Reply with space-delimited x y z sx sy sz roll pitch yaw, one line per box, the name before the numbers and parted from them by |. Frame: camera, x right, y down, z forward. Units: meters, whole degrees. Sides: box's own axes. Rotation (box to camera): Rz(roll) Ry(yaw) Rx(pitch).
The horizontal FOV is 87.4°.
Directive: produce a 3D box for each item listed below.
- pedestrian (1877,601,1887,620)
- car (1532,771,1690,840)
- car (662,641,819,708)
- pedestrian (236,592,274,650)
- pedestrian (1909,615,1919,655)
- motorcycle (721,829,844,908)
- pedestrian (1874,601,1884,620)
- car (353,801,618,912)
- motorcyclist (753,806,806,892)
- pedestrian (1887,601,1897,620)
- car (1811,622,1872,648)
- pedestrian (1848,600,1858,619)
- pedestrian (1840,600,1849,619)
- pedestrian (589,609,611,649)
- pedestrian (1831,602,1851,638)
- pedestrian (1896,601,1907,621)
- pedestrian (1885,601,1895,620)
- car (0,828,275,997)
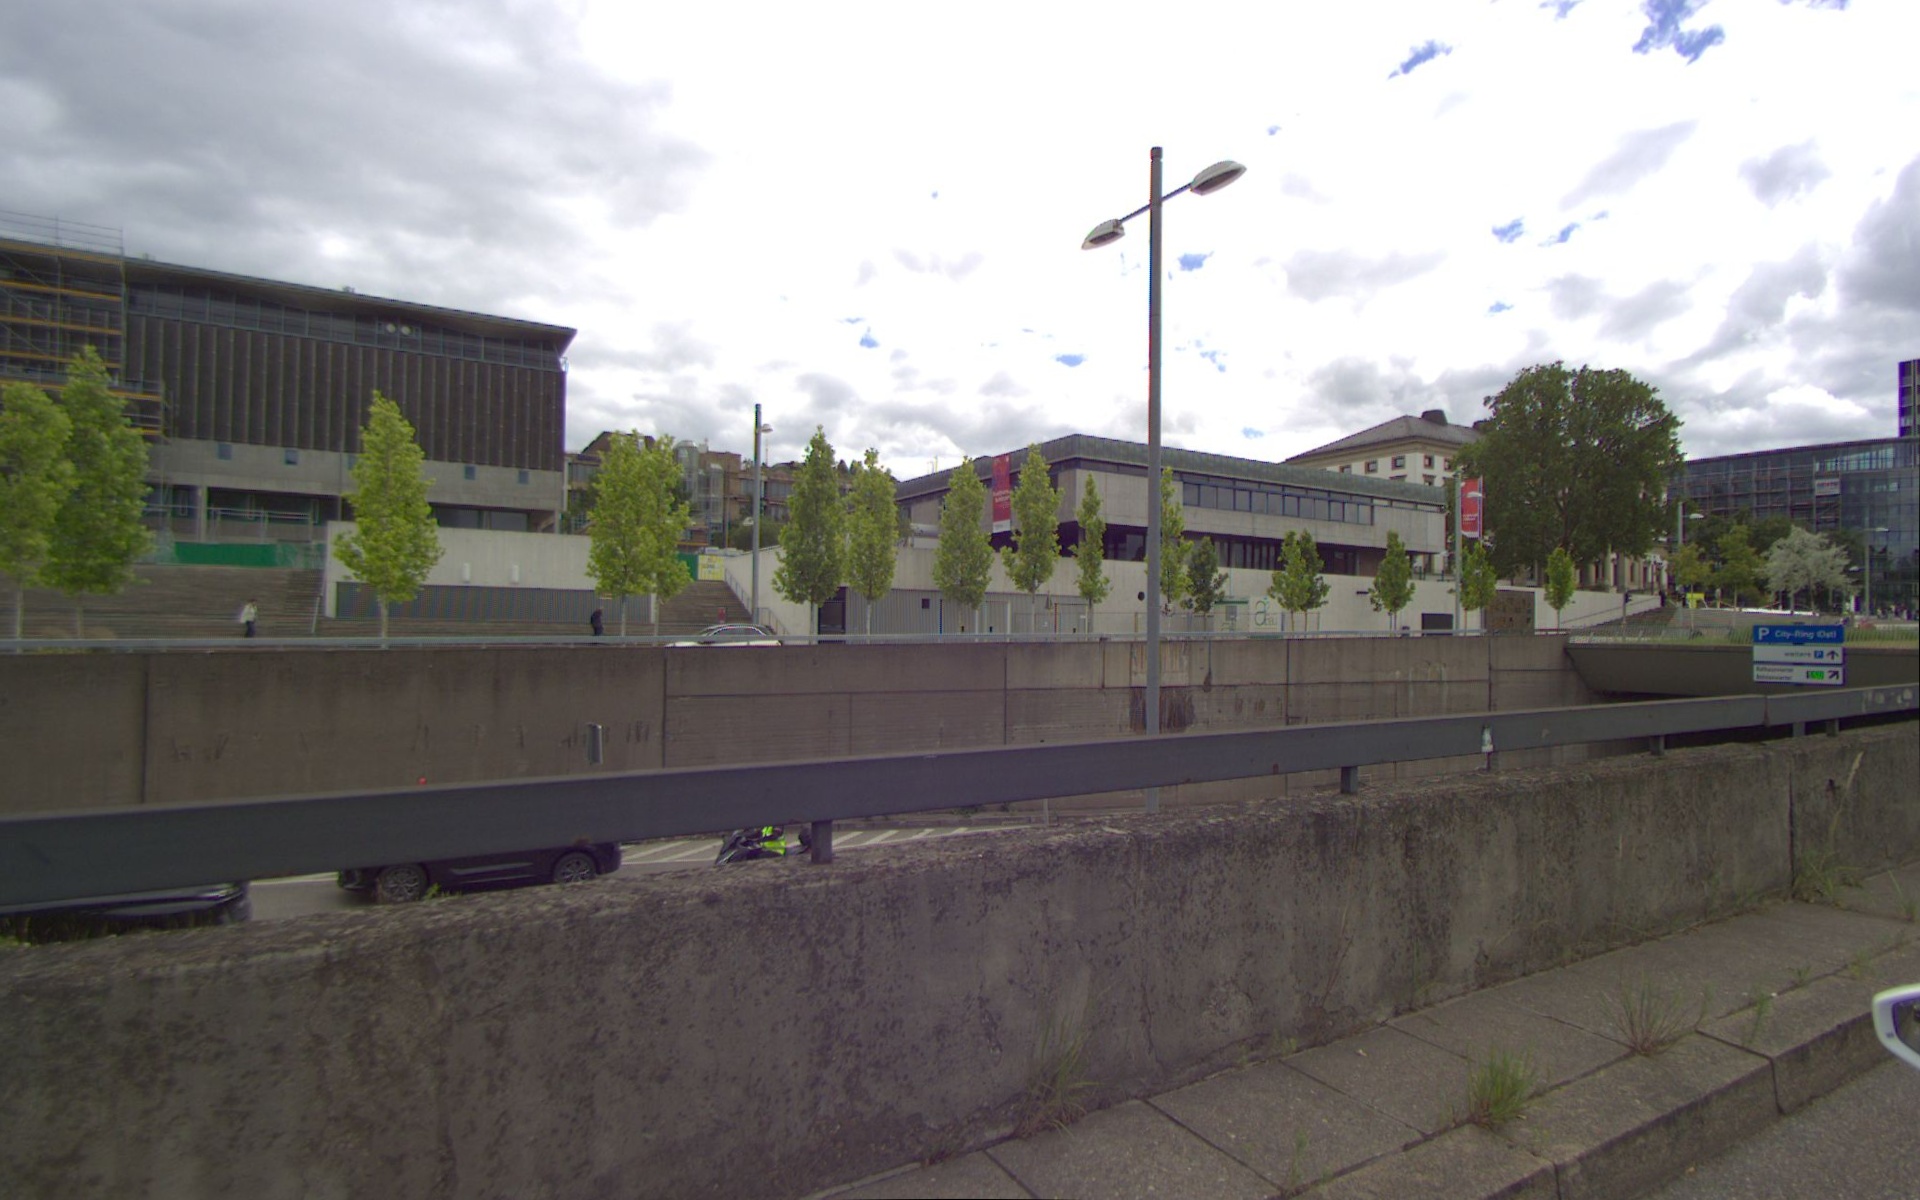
pedestrian | 99.679 1.136 108.563 0.730 2.040 0.789 -1 0 40
car | 20.180 6.274 31.085 5.191 1.659 1.985 3 -8 -32
car | -6.231 2.089 28.559 3.954 1.786 1.985 1 -4 -31
pedestrian | -25.583 0.759 36.458 0.777 2.040 0.741 -1 0 9
pedestrian | 49.869 1.815 52.101 0.779 2.040 0.834 -1 -1 33
motorcycle | -3.126 4.726 17.806 2.027 1.112 0.682 4 -6 -30
pedestrian | 98.762 1.114 107.919 0.730 2.040 1.109 -1 0 40
car | -8.251 4.381 17.564 3.962 1.345 1.796 5 -5 -31
motorcyclist | -3.198 4.390 17.794 0.710 1.369 0.666 4 -6 -31
pedestrian | 100.830 1.177 108.705 0.730 2.040 0.789 -1 0 40
car | 66.536 2.582 75.812 4.683 1.879 2.163 0 -1 -32
pedestrian | 96.569 1.025 108.599 0.730 2.040 0.789 -1 0 40
pedestrian | 96.591 1.024 109.670 0.730 2.040 0.789 -1 0 40
pedestrian | -15.295 1.225 42.694 0.779 1.664 0.738 -1 0 -15
pedestrian | 51.226 1.166 58.406 0.623 2.040 0.724 -6 3 -37
pedestrian | 100.964 1.192 107.722 0.730 2.040 1.109 -1 0 40
pedestrian | 99.529 1.132 107.487 0.730 2.040 0.789 -1 0 40
car | -11.039 3.812 12.371 4.101 1.508 1.766 4 -4 -31
